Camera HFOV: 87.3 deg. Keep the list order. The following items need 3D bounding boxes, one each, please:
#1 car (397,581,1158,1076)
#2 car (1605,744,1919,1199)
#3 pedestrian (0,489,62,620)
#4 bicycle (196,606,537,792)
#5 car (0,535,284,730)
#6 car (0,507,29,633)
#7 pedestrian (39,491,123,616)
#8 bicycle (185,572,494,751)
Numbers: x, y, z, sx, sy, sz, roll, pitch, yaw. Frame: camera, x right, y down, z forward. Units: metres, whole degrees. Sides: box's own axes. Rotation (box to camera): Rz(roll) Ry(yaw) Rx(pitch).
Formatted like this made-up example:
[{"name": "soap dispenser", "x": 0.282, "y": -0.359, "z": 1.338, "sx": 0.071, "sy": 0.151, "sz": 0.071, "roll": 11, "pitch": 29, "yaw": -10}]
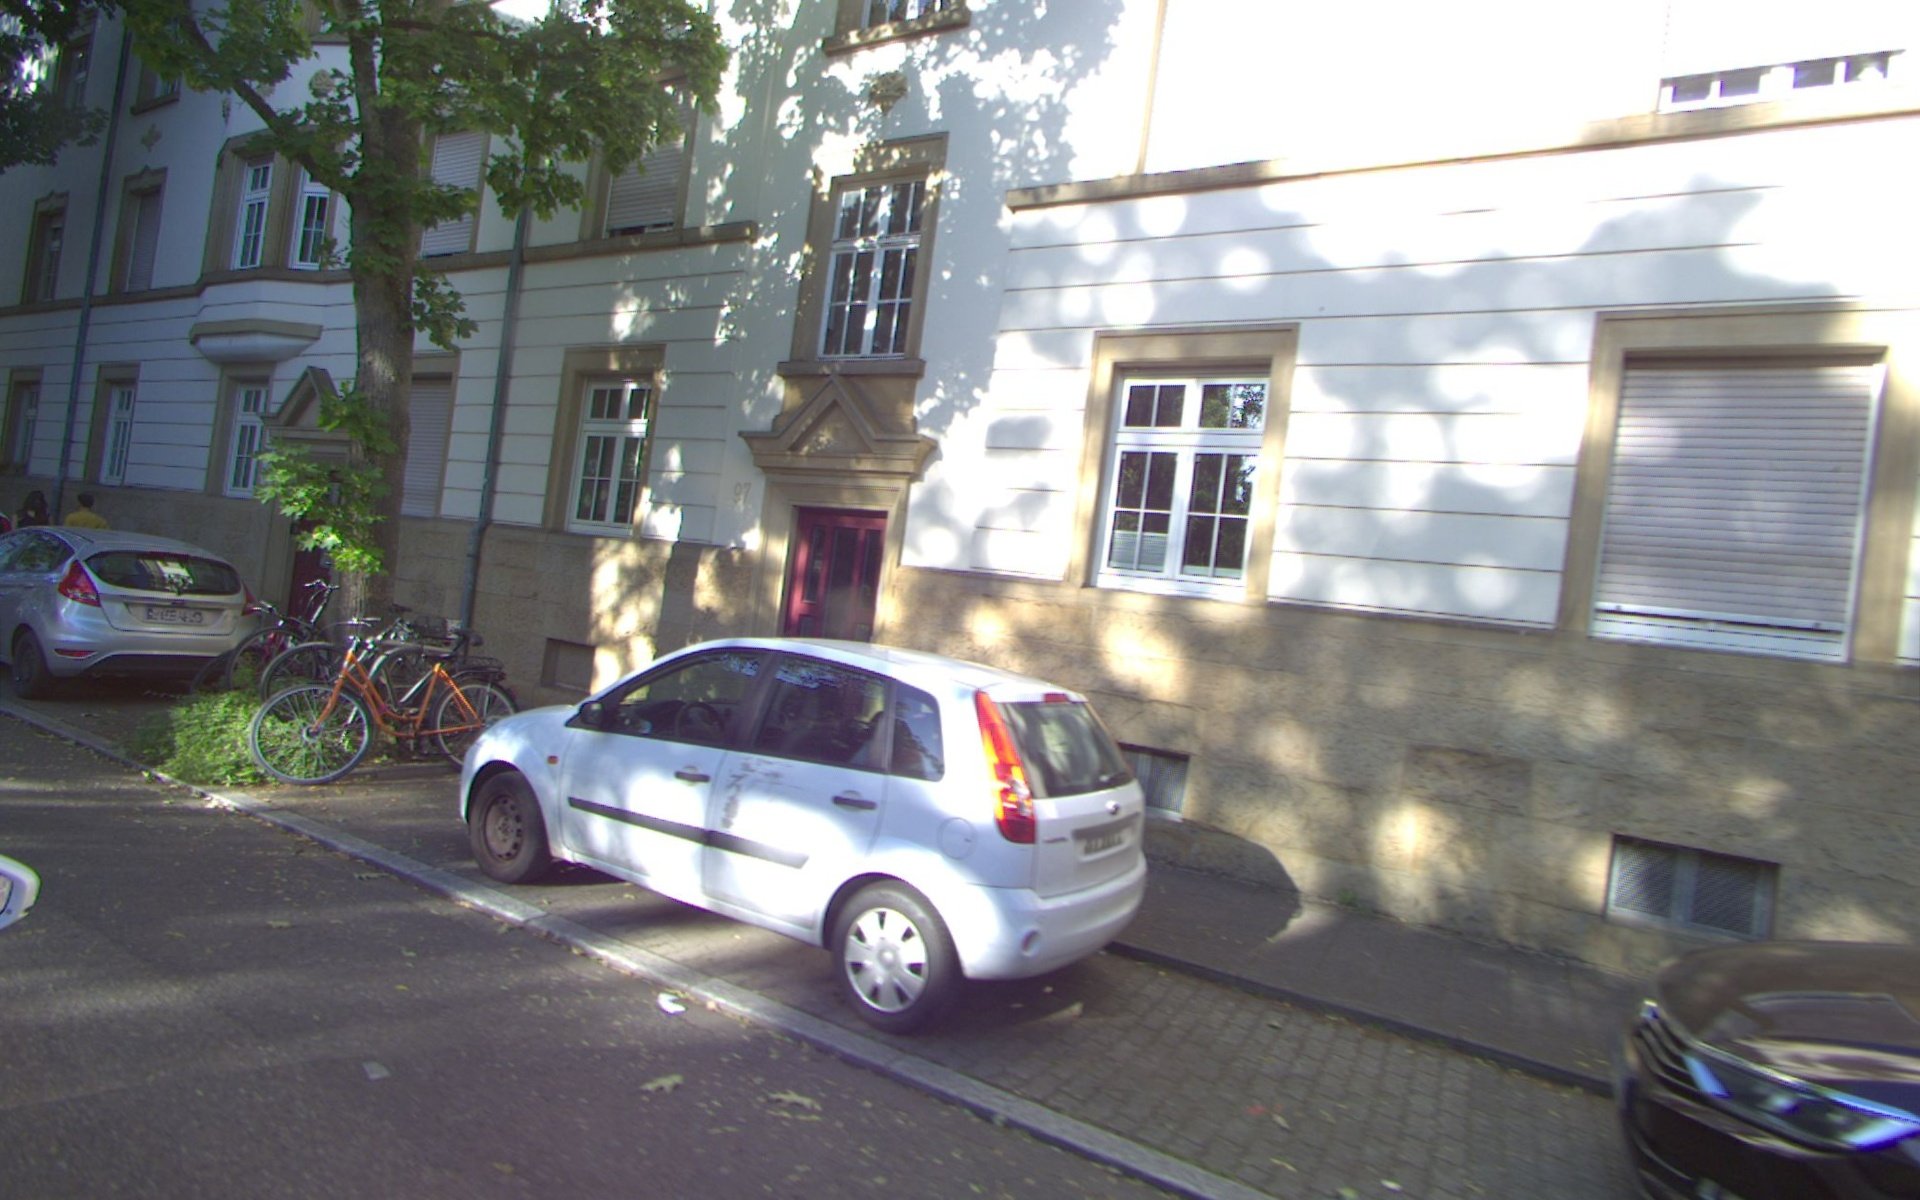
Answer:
[{"name": "car", "x": -1.059, "y": 0.886, "z": 5.324, "sx": 3.685, "sy": 1.506, "sz": 1.599, "roll": 7, "pitch": -1, "yaw": 30}, {"name": "car", "x": 4.172, "y": 1.466, "z": 2.206, "sx": 4.383, "sy": 1.531, "sz": 1.791, "roll": 7, "pitch": -2, "yaw": 29}, {"name": "pedestrian", "x": -13.421, "y": -0.659, "z": 14.361, "sx": 0.863, "sy": 1.755, "sz": 0.520, "roll": 7, "pitch": 0, "yaw": 32}, {"name": "bicycle", "x": -4.104, "y": 0.673, "z": 7.154, "sx": 0.589, "sy": 1.086, "sz": 1.972, "roll": 7, "pitch": 0, "yaw": 31}, {"name": "car", "x": -8.570, "y": 0.213, "z": 9.768, "sx": 4.087, "sy": 1.410, "sz": 1.625, "roll": 7, "pitch": -1, "yaw": 31}, {"name": "car", "x": -13.533, "y": -0.590, "z": 12.735, "sx": 3.484, "sy": 1.528, "sz": 1.523, "roll": 7, "pitch": -1, "yaw": 31}, {"name": "pedestrian", "x": -12.870, "y": -0.680, "z": 14.734, "sx": 0.677, "sy": 1.722, "sz": 0.596, "roll": 7, "pitch": 0, "yaw": 32}, {"name": "bicycle", "x": -5.043, "y": 0.511, "z": 8.338, "sx": 0.747, "sy": 1.244, "sz": 1.972, "roll": 7, "pitch": 0, "yaw": 31}]
